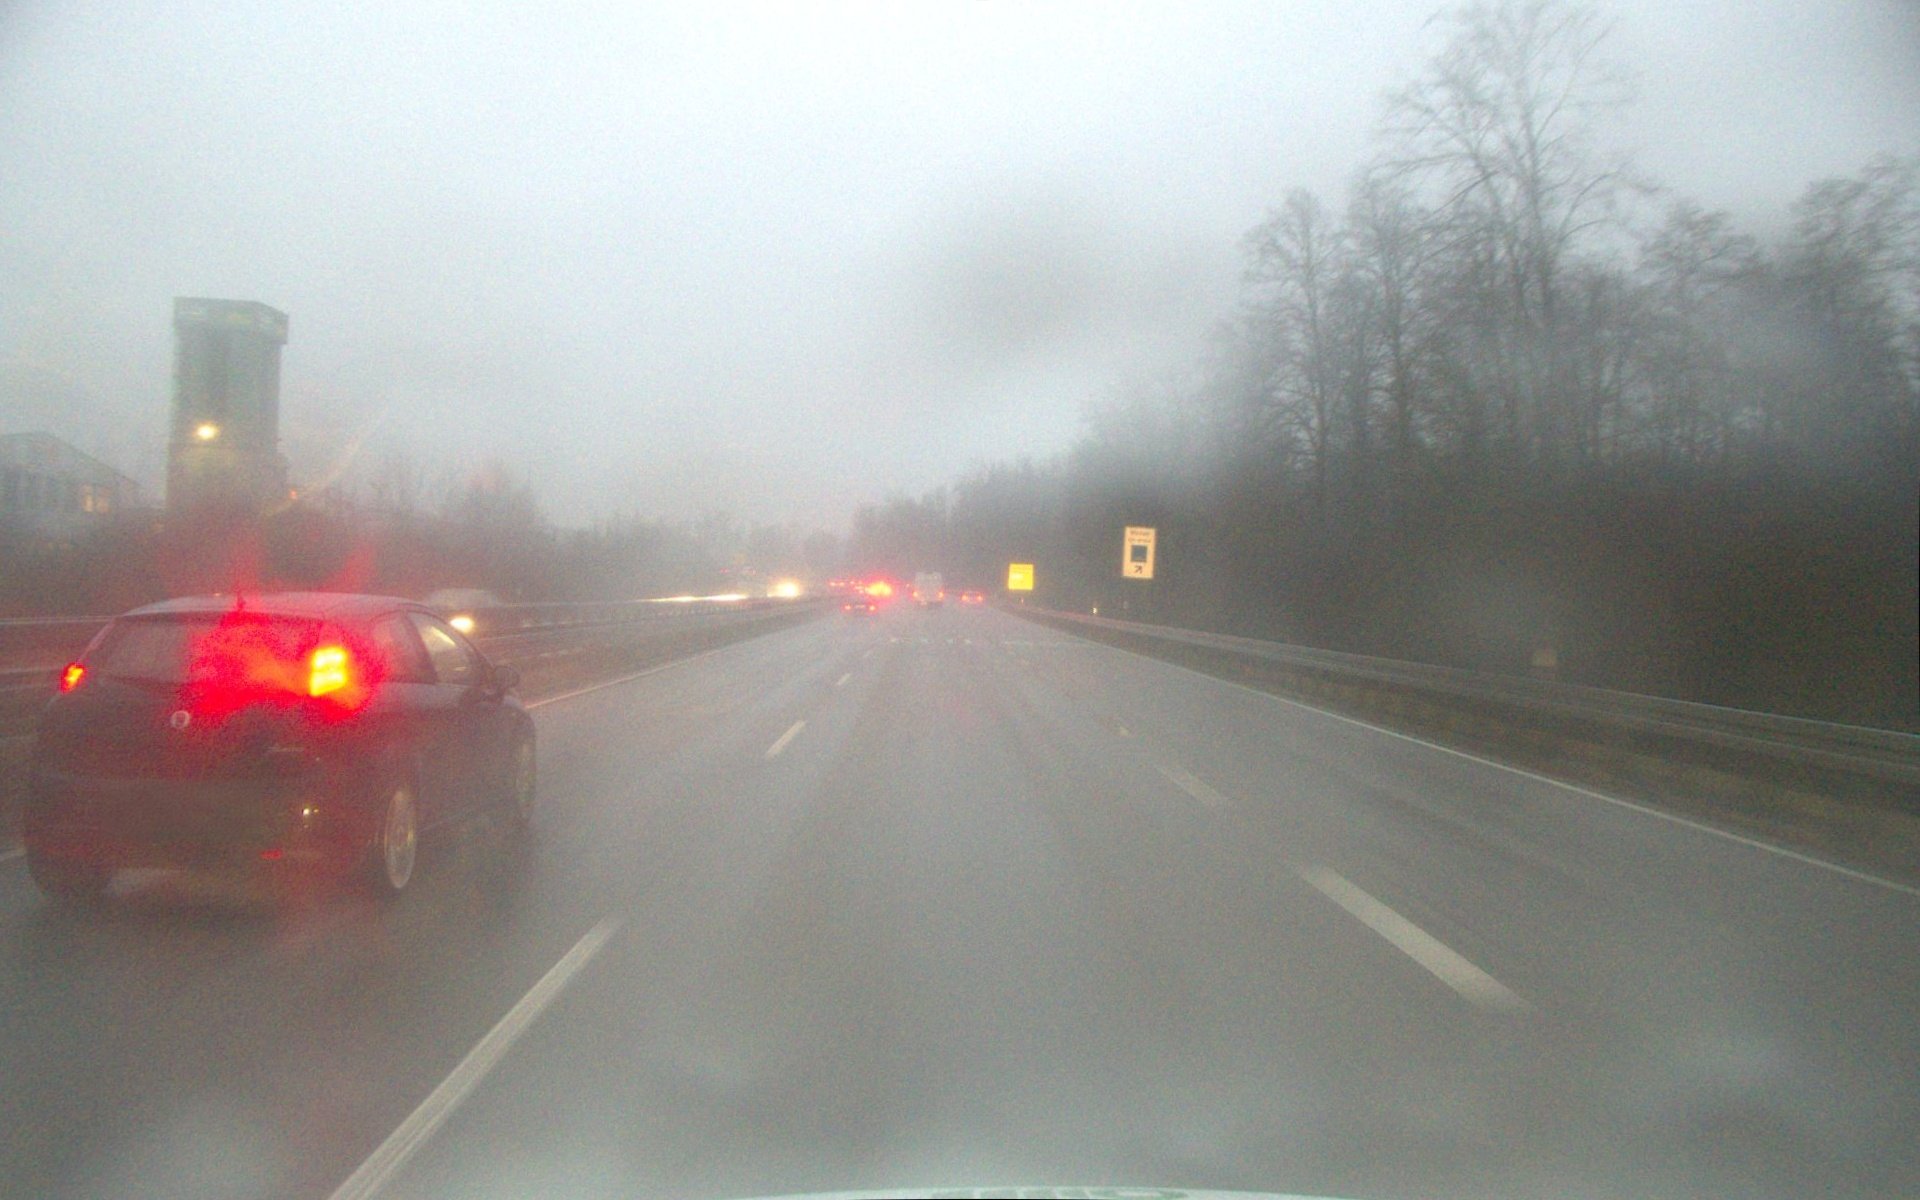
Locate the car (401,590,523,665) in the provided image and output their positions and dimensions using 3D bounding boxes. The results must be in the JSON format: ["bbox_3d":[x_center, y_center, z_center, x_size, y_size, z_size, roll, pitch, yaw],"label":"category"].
[{"bbox_3d":[-11.664,0.616,39.002,1.705,1.668,3.999,0,0,-1],"label":"car"}]

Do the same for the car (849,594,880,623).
[{"bbox_3d":[-4.776,0.410,82.791,1.387,1.340,3.082,2,0,-1],"label":"car"}]

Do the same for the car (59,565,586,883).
[{"bbox_3d":[-3.410,0.588,9.691,1.593,1.416,3.998,2,0,-2],"label":"car"}]
